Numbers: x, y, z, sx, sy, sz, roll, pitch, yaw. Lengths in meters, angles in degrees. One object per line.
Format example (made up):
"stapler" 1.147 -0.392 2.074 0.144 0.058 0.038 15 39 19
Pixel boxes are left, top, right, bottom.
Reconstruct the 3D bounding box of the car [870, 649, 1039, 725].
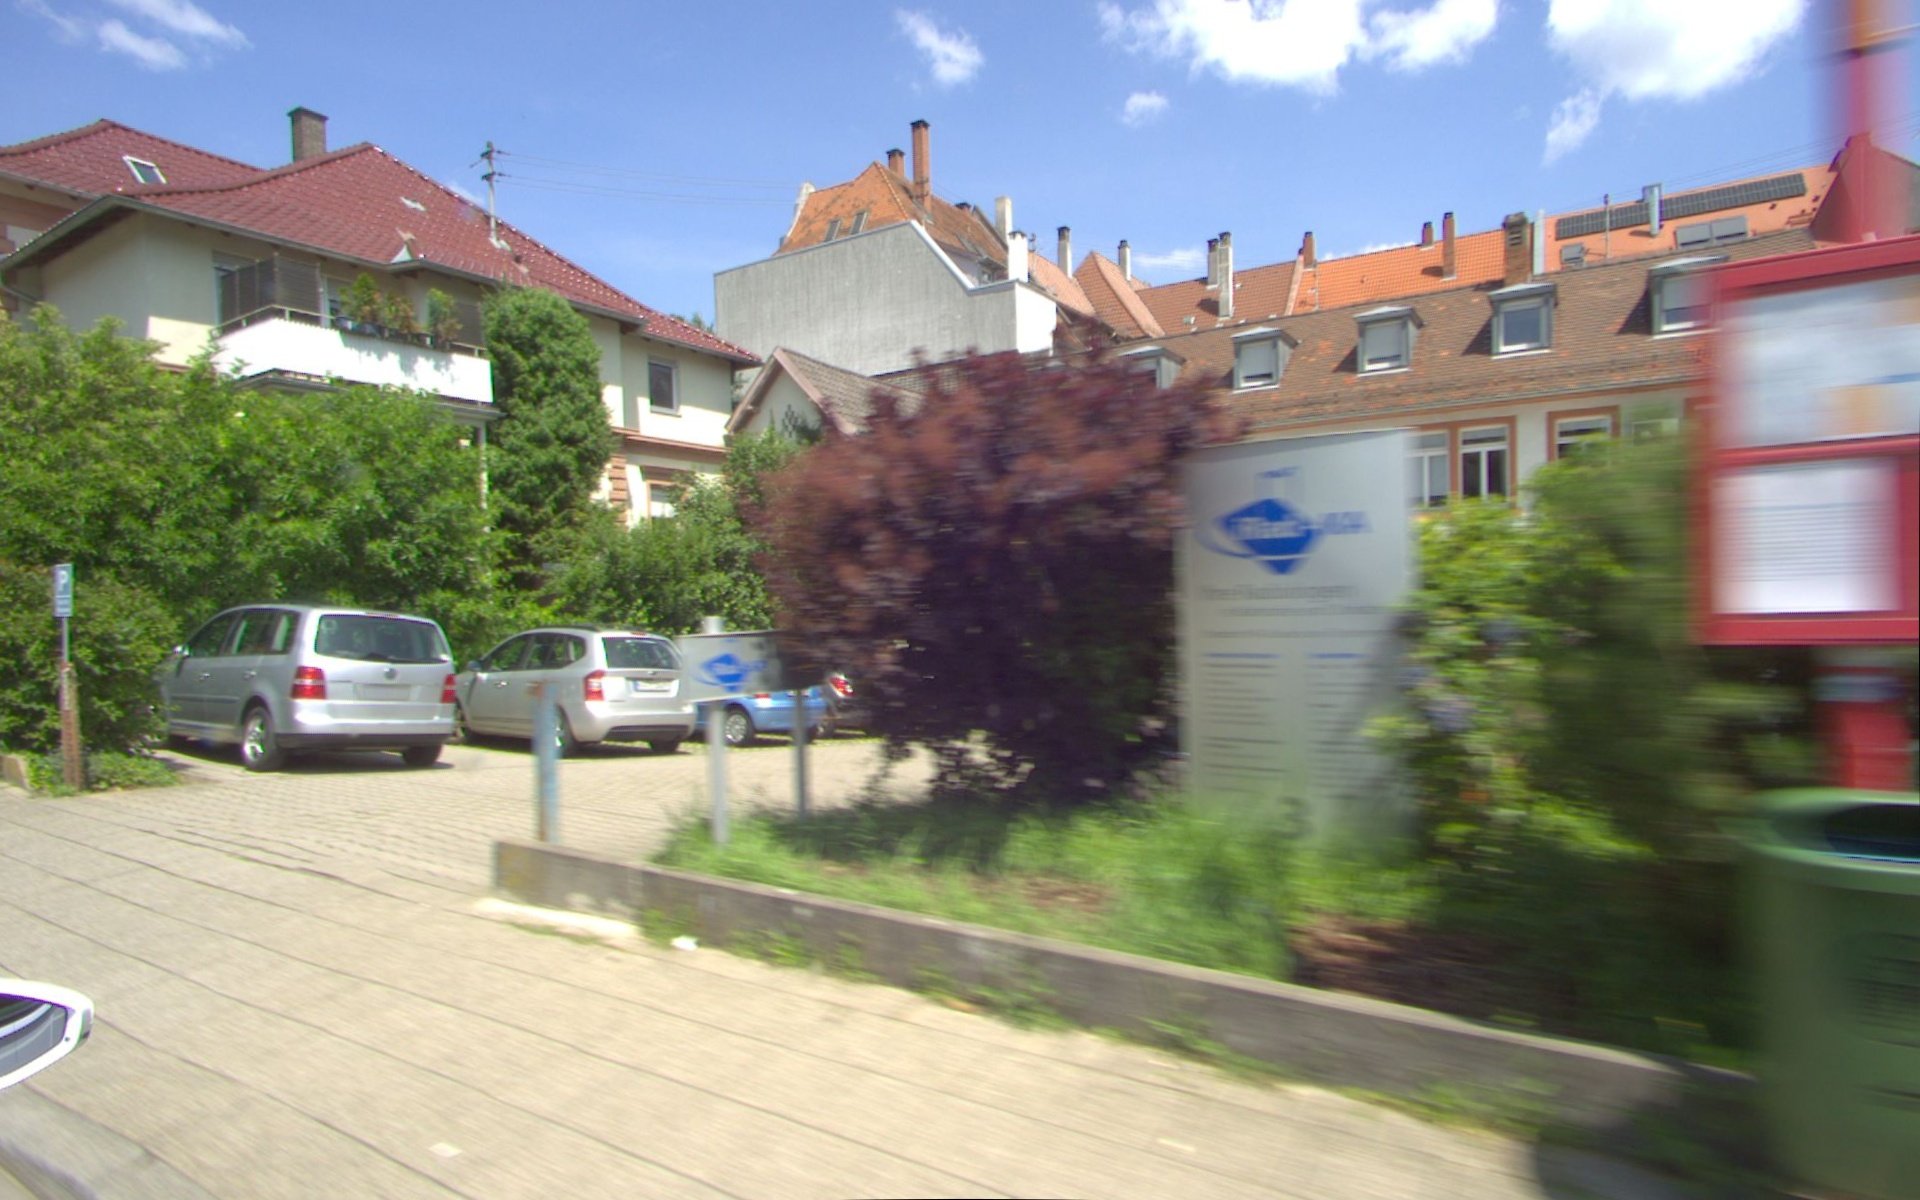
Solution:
"car" -0.147 1.925 22.164 3.535 1.556 1.520 -3 -6 35

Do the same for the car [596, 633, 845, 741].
"car" -3.938 1.406 16.283 3.948 1.556 1.758 -3 -6 35

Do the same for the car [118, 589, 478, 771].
"car" -7.255 0.873 10.904 3.944 1.647 1.759 -3 -6 32

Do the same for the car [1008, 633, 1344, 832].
"car" 2.260 1.170 9.495 1.699 1.441 4.128 -1 -6 34

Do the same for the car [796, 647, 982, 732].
"car" -1.459 1.796 20.100 3.535 1.556 1.581 -3 -6 35

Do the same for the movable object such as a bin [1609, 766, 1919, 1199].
"movable object such as a bin" 1.600 0.805 1.762 0.719 0.919 0.405 -2 4 30

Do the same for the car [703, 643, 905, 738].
"car" -2.873 1.639 18.244 3.535 1.556 1.581 -3 -6 35

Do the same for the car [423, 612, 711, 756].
"car" -5.428 1.150 13.710 3.948 1.688 1.758 -3 -6 35
